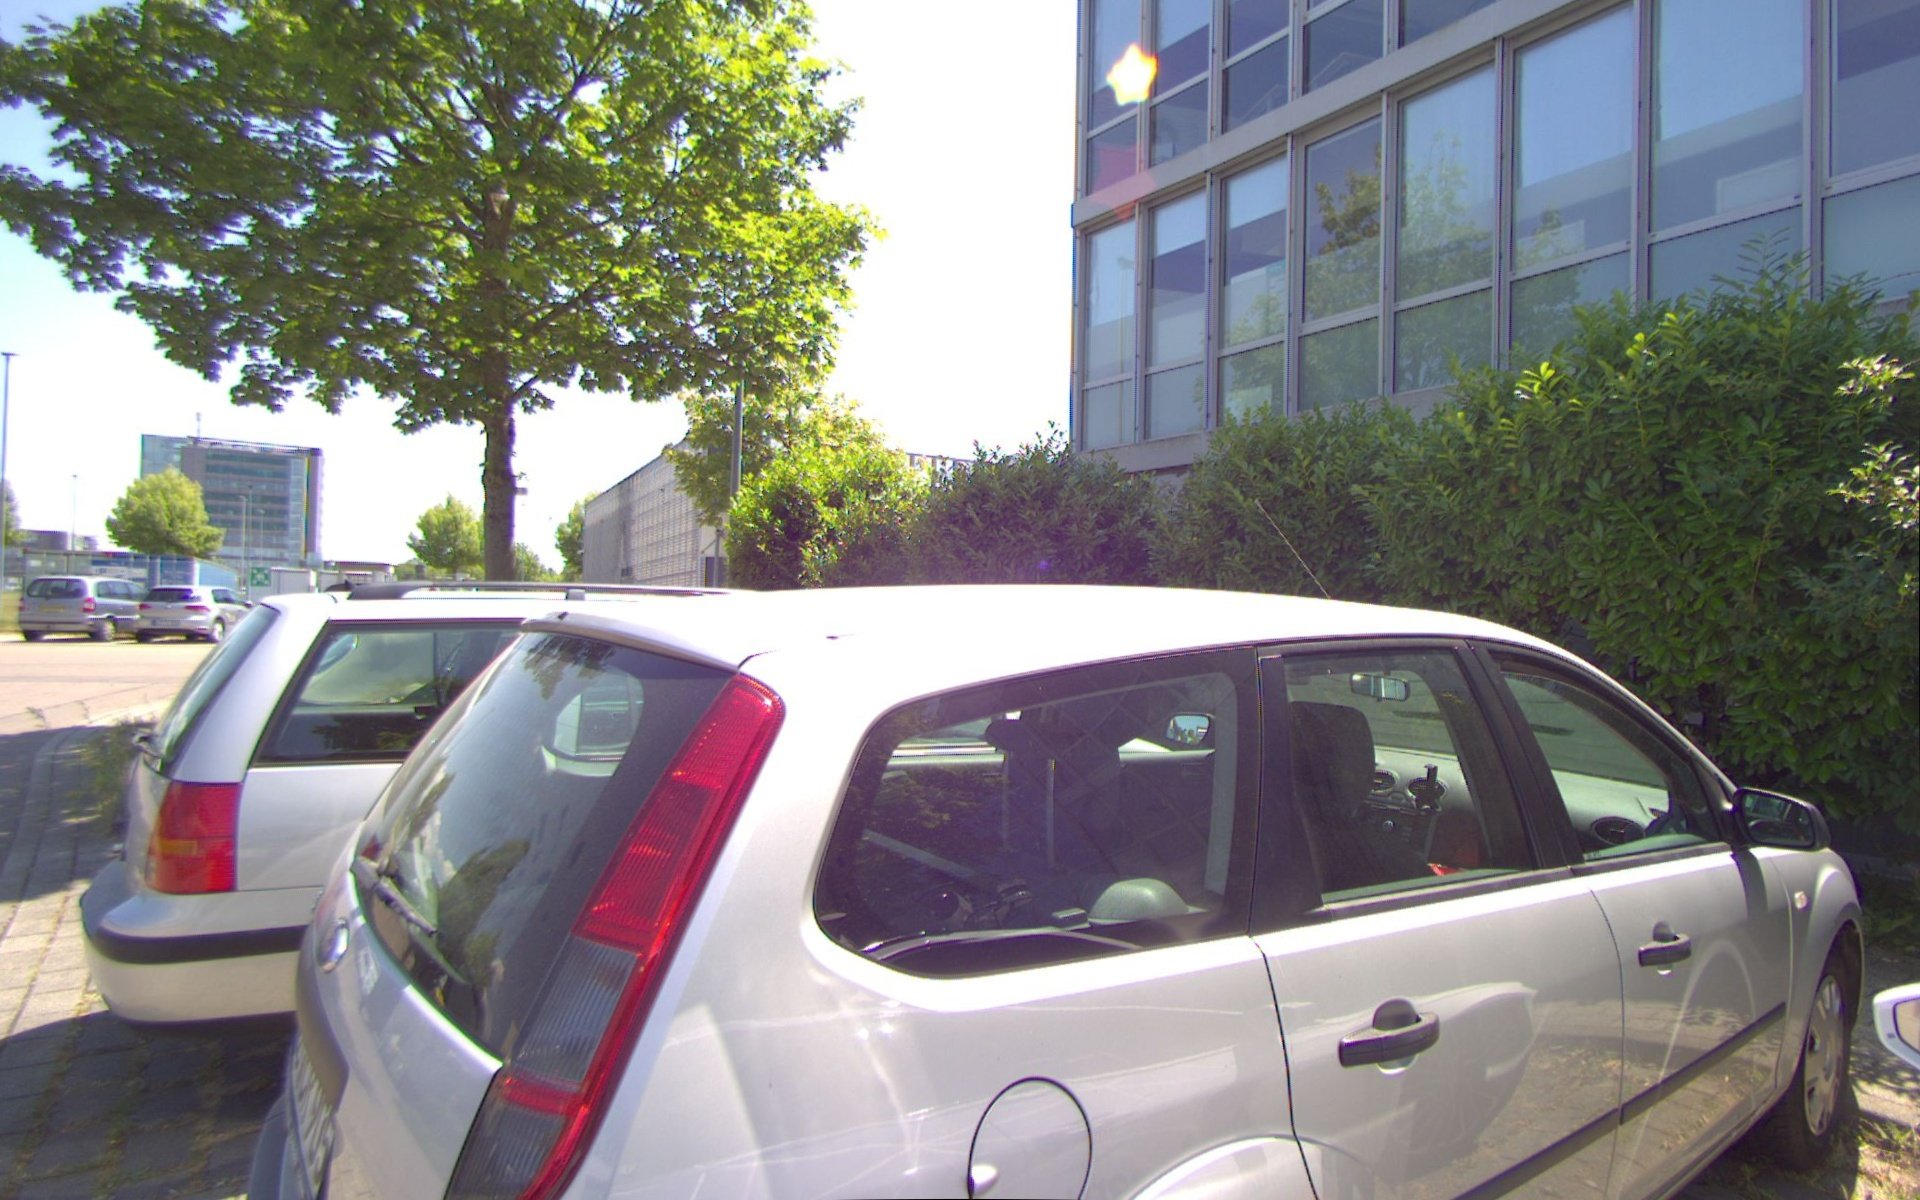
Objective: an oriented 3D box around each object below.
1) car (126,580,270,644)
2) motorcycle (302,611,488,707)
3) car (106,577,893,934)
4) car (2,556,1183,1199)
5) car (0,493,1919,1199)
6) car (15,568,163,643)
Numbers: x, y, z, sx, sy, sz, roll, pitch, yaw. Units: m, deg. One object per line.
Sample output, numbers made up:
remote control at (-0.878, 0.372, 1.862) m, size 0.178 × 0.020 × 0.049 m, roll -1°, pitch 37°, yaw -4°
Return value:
car at (-20.016, 0.296, 26.596) m, size 1.626 × 1.542 × 3.987 m, roll 1°, pitch 0°, yaw -15°
motorcycle at (-7.039, 0.706, 12.577) m, size 1.972 × 1.123 × 0.479 m, roll 1°, pitch 0°, yaw -38°
car at (-2.461, 0.671, 5.965) m, size 3.857 × 1.468 × 1.635 m, roll 2°, pitch 0°, yaw -38°
car at (-1.019, 0.688, 4.005) m, size 3.857 × 1.499 × 1.635 m, roll 2°, pitch 0°, yaw -38°
car at (0.736, 0.730, 2.507) m, size 4.305 × 1.499 × 1.708 m, roll 2°, pitch 0°, yaw -35°
car at (-22.405, 0.120, 26.013) m, size 1.748 × 1.761 × 3.976 m, roll 1°, pitch 0°, yaw -24°
